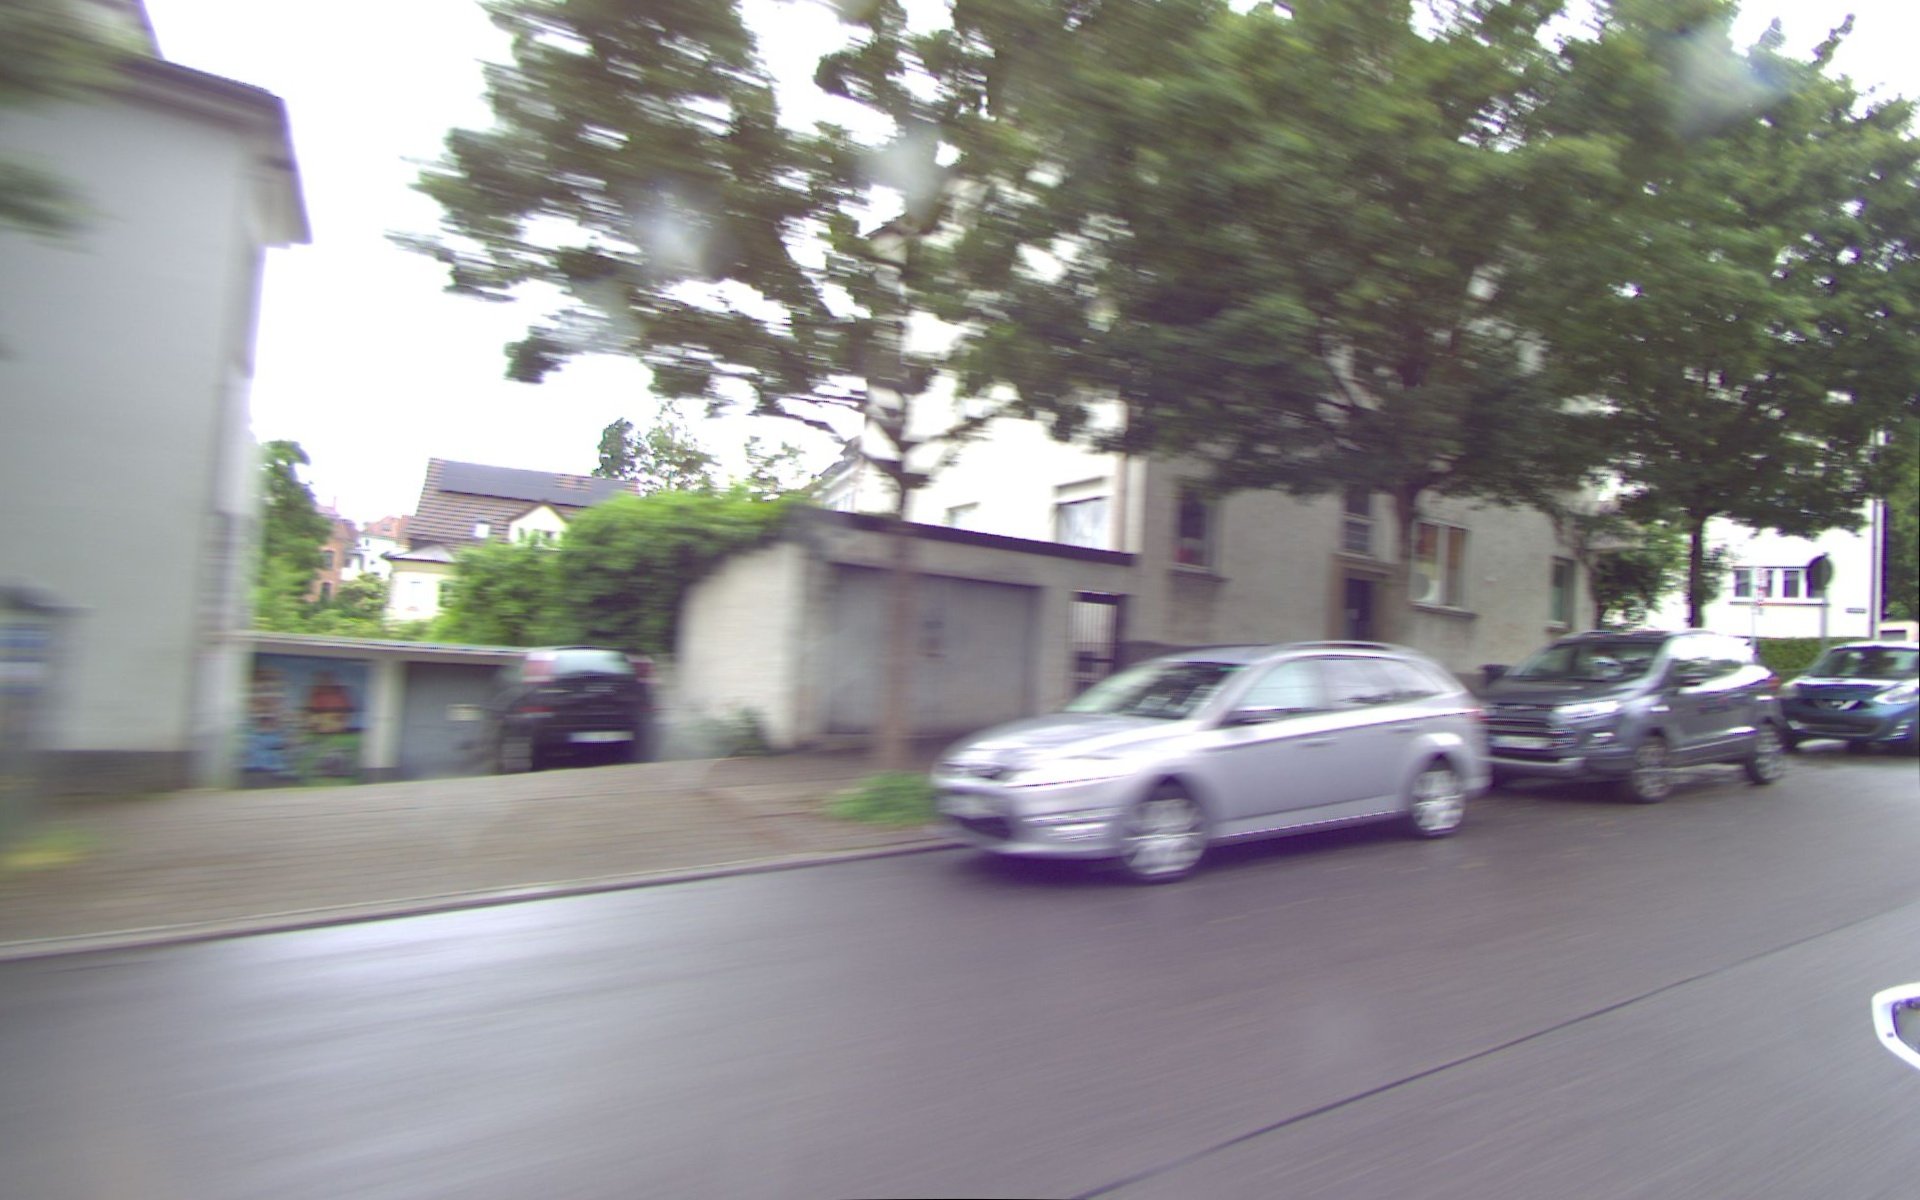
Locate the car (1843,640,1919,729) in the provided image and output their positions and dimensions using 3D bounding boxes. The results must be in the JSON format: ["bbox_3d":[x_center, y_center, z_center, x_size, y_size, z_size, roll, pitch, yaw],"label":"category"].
[{"bbox_3d":[17.185,1.457,17.557,1.965,1.409,4.188,1,-2,32],"label":"car"}]

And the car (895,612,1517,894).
[{"bbox_3d":[2.017,1.004,7.659,4.746,1.572,1.796,3,-4,-31],"label":"car"}]

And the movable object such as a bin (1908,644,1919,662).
[{"bbox_3d":[66.370,3.689,69.465,0.846,1.201,0.786,1,-1,-5],"label":"movable object such as a bin"}]

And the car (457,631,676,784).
[{"bbox_3d":[-5.309,1.491,13.277,1.782,1.561,3.672,2,-12,-37],"label":"car"}]

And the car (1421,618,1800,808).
[{"bbox_3d":[7.045,1.101,10.791,4.092,1.648,1.795,3,-1,-31],"label":"car"}]

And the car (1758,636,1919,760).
[{"bbox_3d":[13.501,1.320,14.595,3.835,1.482,1.704,1,1,-30],"label":"car"}]
